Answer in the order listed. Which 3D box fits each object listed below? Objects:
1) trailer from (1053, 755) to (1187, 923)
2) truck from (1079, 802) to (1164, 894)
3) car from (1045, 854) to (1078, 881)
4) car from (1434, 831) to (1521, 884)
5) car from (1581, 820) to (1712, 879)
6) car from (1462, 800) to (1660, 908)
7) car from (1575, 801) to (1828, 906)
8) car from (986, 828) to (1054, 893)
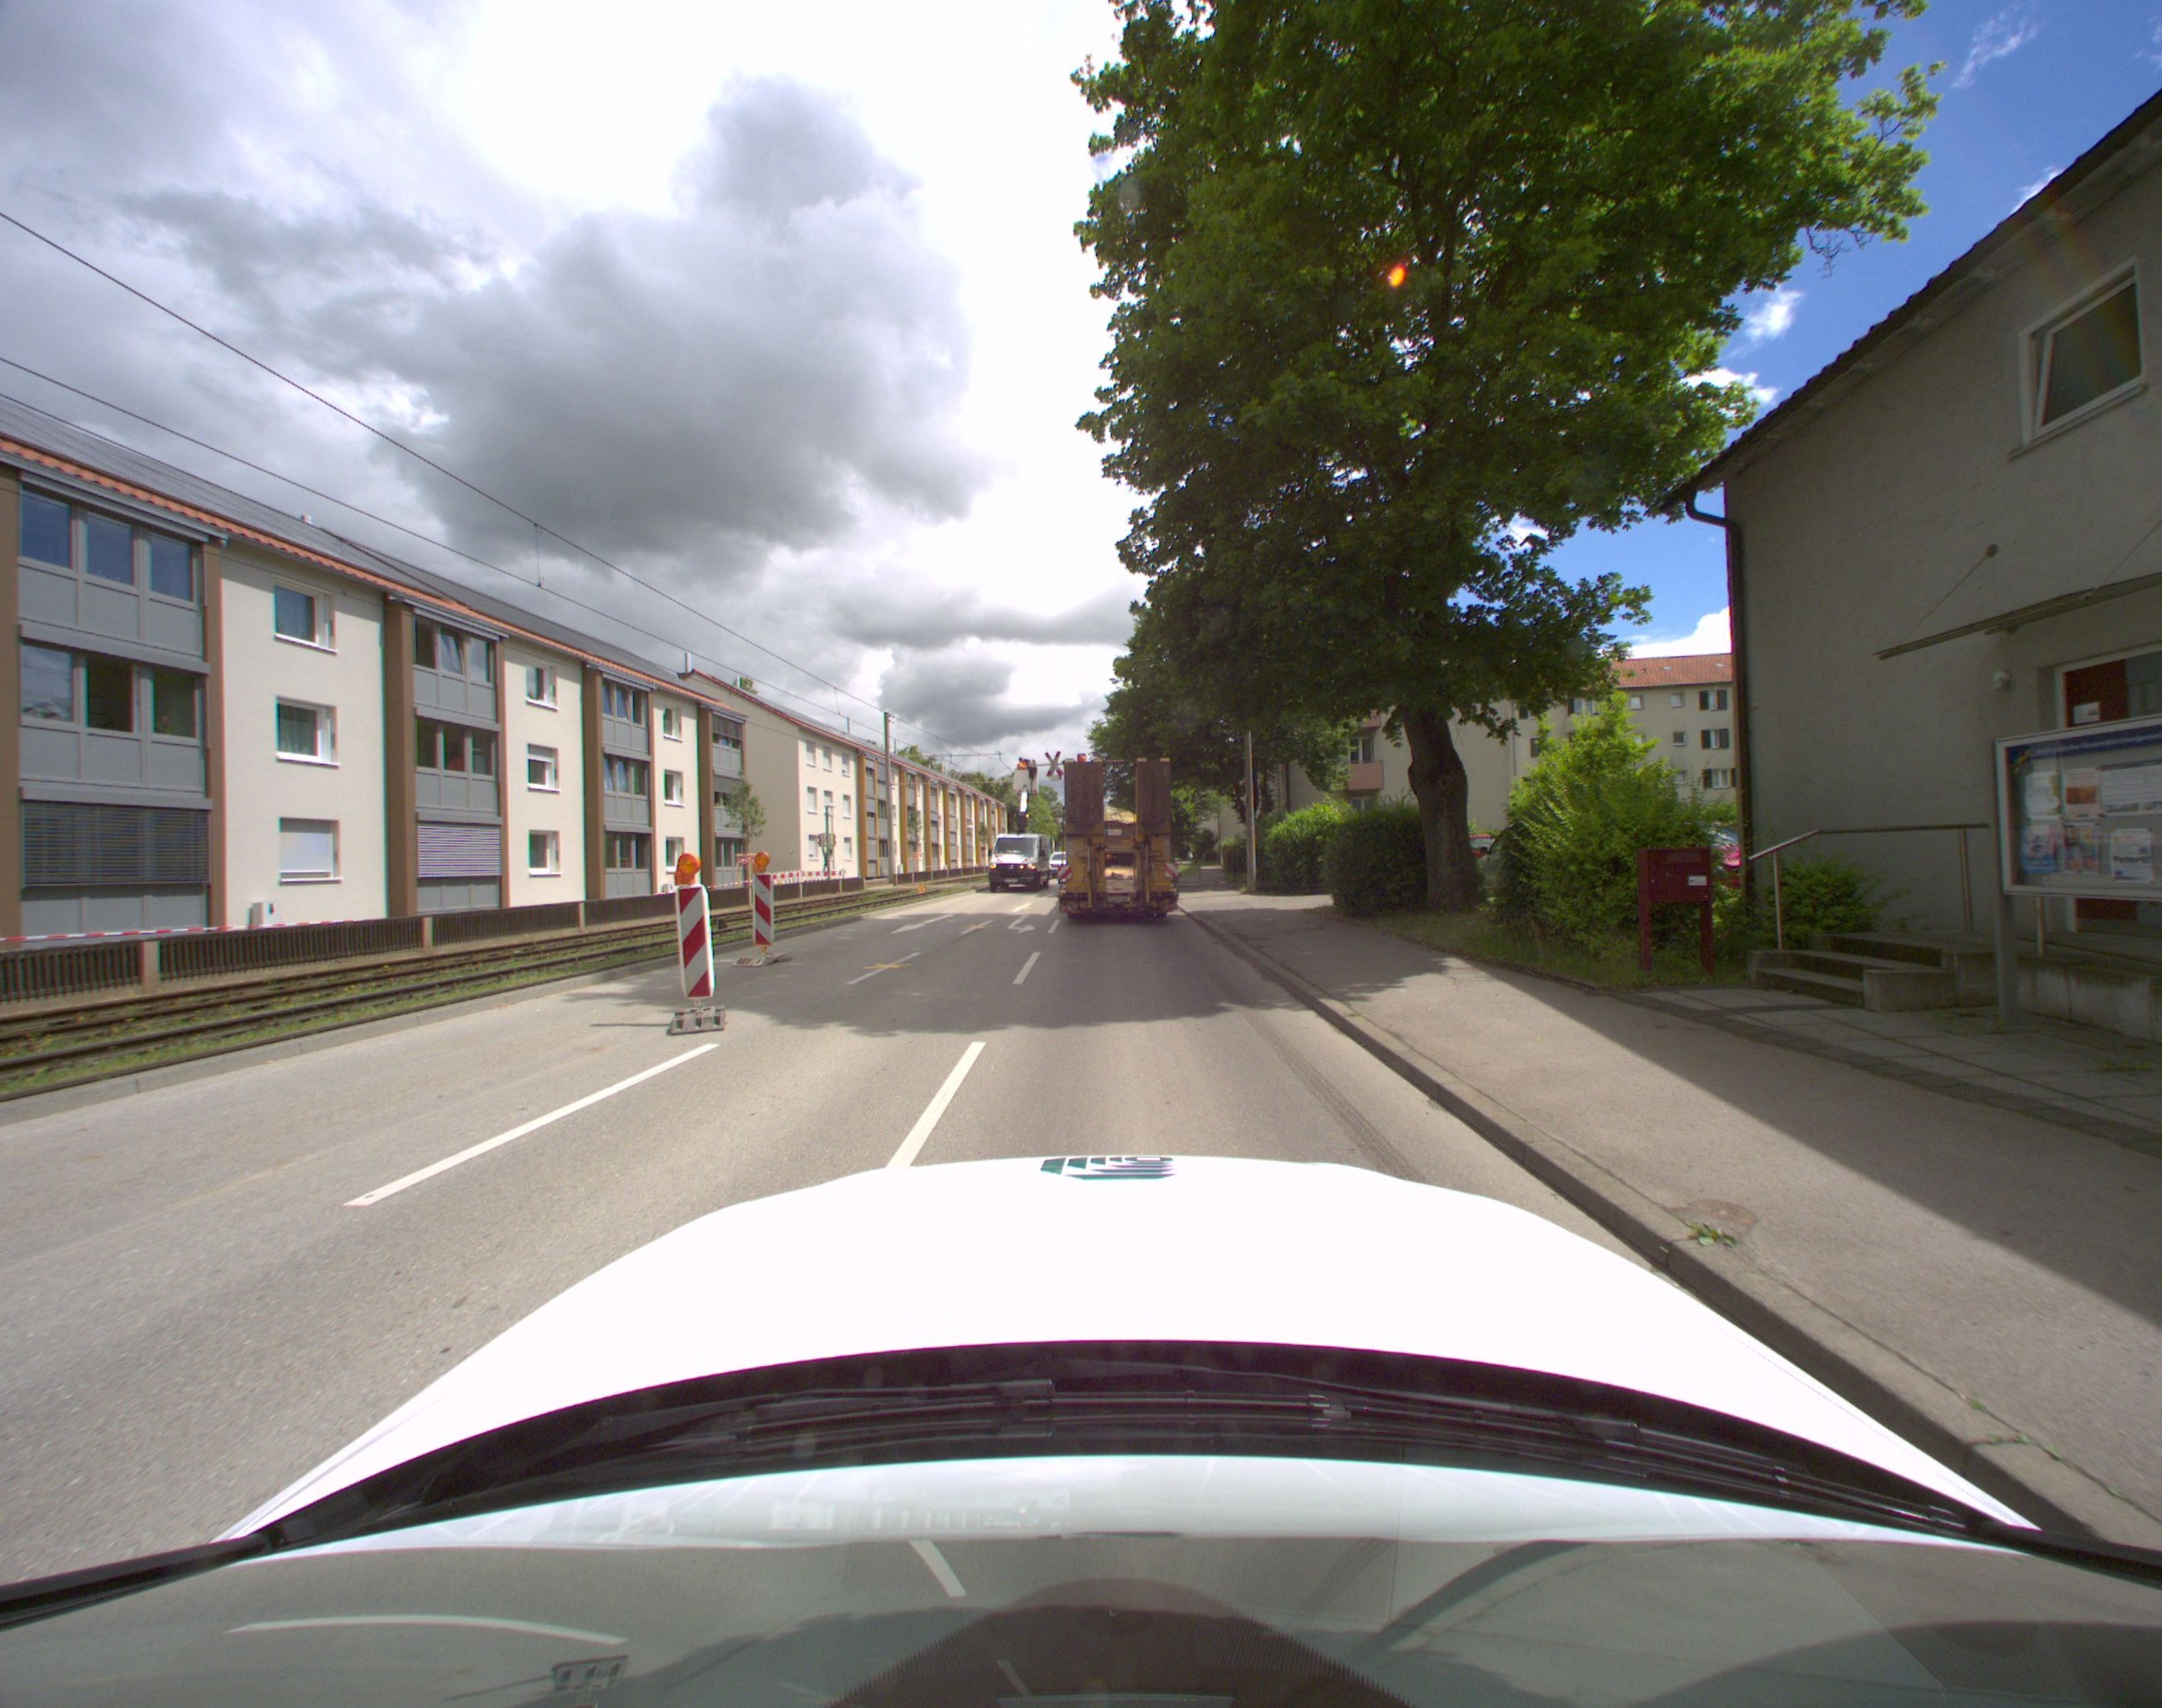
[{"bbox_3d":[1.076,-0.325,22.607,2.811,3.524,11.059,0,0,3],"label":"trailer"},{"bbox_3d":[1.584,-0.236,31.925,2.905,3.167,7.686,0,0,3],"label":"truck"},{"bbox_3d":[-1.138,0.768,49.095,1.711,1.552,3.919,0,0,2],"label":"car"},{"bbox_3d":[12.396,0.086,25.664,1.651,1.480,3.706,-3,0,14],"label":"car"},{"bbox_3d":[17.312,-0.137,25.172,1.786,1.607,4.120,-2,0,11],"label":"car"},{"bbox_3d":[8.556,0.007,14.952,1.800,1.649,4.012,-3,-1,10],"label":"car"},{"bbox_3d":[11.013,0.001,14.877,1.803,1.583,4.006,-3,-1,6],"label":"car"},{"bbox_3d":[-2.422,0.234,34.115,1.985,2.430,6.327,-1,0,3],"label":"car"}]
